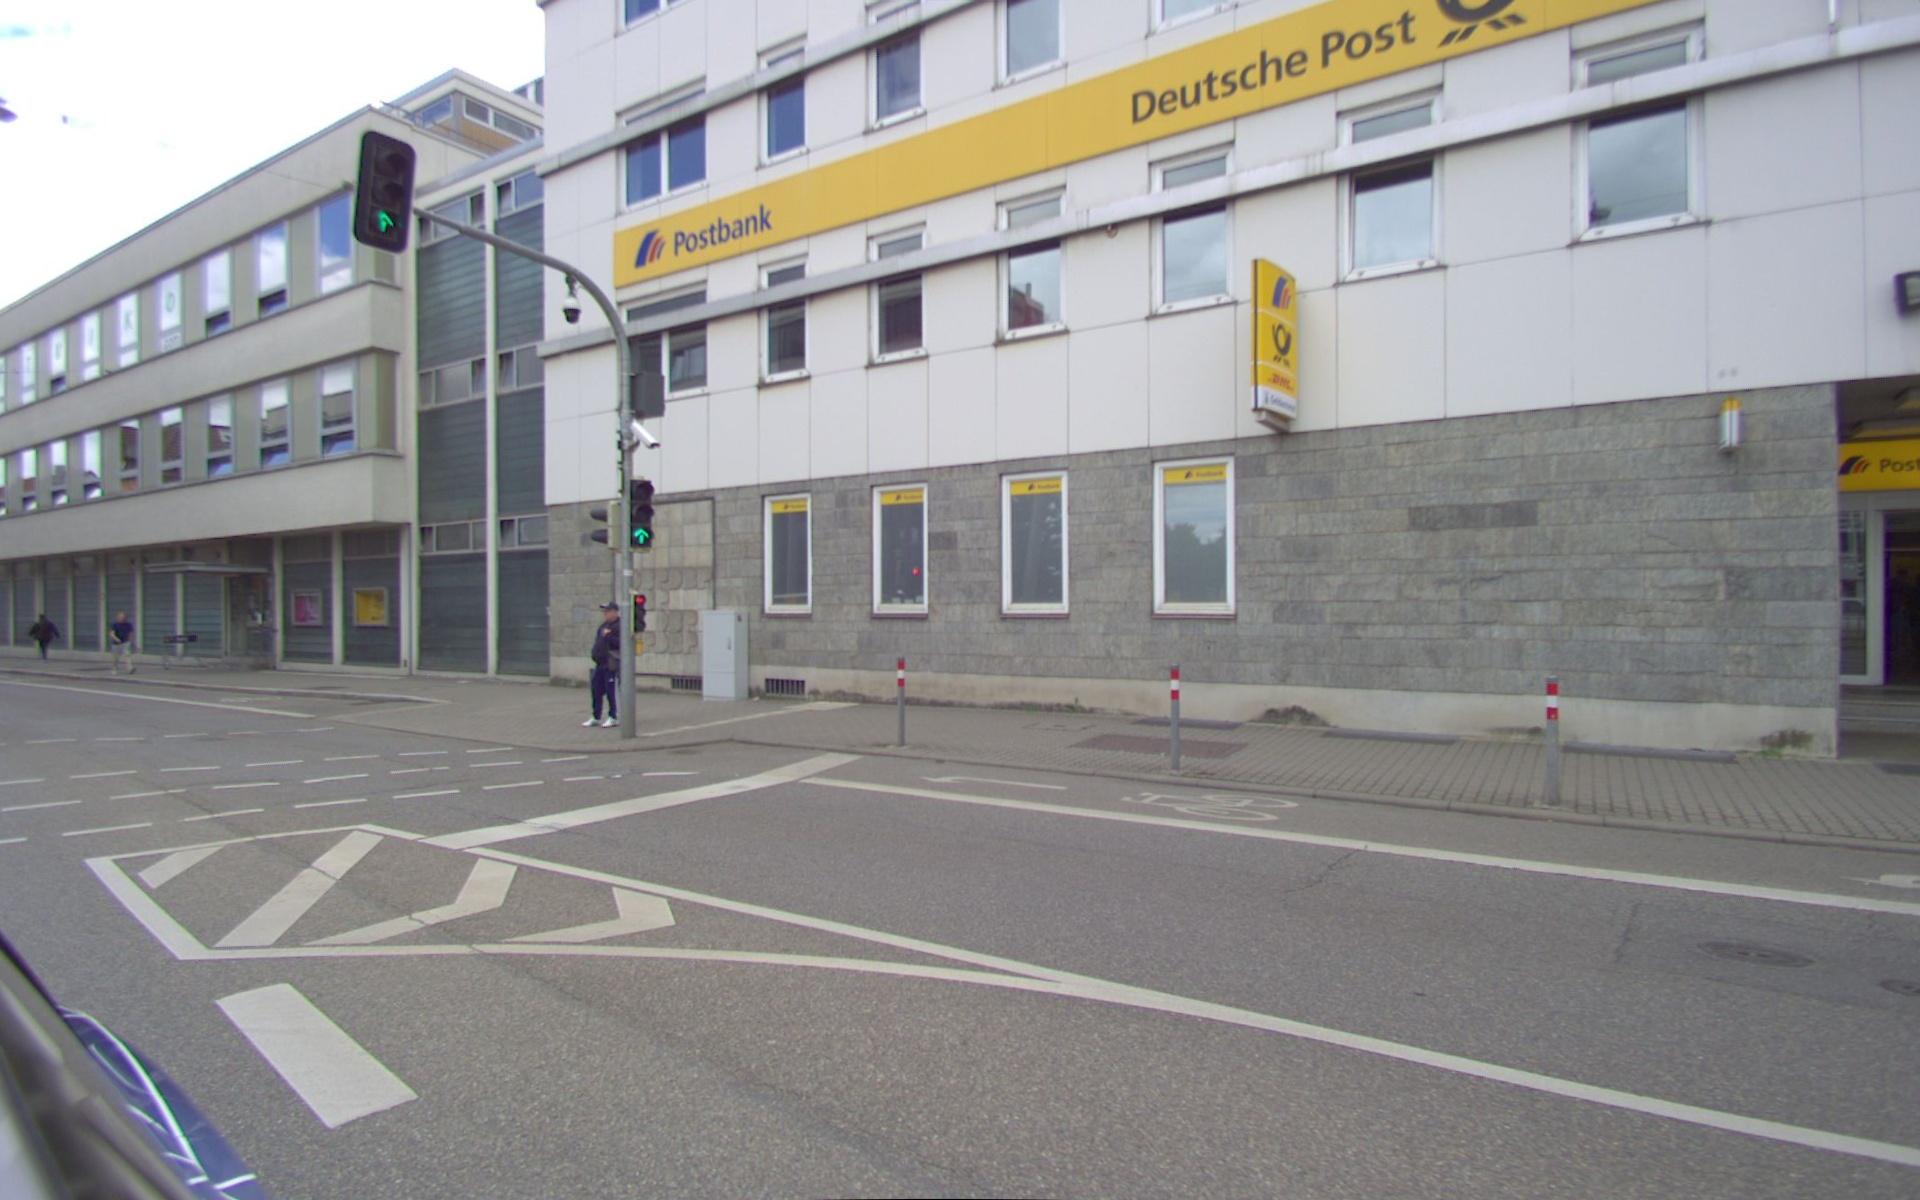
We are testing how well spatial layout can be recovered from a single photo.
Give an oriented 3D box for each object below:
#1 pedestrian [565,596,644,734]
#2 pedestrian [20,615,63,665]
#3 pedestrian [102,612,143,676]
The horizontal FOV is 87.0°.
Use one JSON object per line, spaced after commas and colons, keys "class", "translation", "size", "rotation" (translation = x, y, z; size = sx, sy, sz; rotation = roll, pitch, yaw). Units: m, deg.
{"class": "pedestrian", "translation": [-4.664, 0.827, 13.282], "size": [0.782, 1.731, 0.641], "rotation": [-1, 0, 41]}
{"class": "pedestrian", "translation": [-32.635, 1.413, 35.956], "size": [1.028, 1.731, 0.855], "rotation": [-1, 1, 32]}
{"class": "pedestrian", "translation": [-23.252, 1.212, 28.101], "size": [1.052, 1.731, 0.585], "rotation": [-1, -1, 32]}
